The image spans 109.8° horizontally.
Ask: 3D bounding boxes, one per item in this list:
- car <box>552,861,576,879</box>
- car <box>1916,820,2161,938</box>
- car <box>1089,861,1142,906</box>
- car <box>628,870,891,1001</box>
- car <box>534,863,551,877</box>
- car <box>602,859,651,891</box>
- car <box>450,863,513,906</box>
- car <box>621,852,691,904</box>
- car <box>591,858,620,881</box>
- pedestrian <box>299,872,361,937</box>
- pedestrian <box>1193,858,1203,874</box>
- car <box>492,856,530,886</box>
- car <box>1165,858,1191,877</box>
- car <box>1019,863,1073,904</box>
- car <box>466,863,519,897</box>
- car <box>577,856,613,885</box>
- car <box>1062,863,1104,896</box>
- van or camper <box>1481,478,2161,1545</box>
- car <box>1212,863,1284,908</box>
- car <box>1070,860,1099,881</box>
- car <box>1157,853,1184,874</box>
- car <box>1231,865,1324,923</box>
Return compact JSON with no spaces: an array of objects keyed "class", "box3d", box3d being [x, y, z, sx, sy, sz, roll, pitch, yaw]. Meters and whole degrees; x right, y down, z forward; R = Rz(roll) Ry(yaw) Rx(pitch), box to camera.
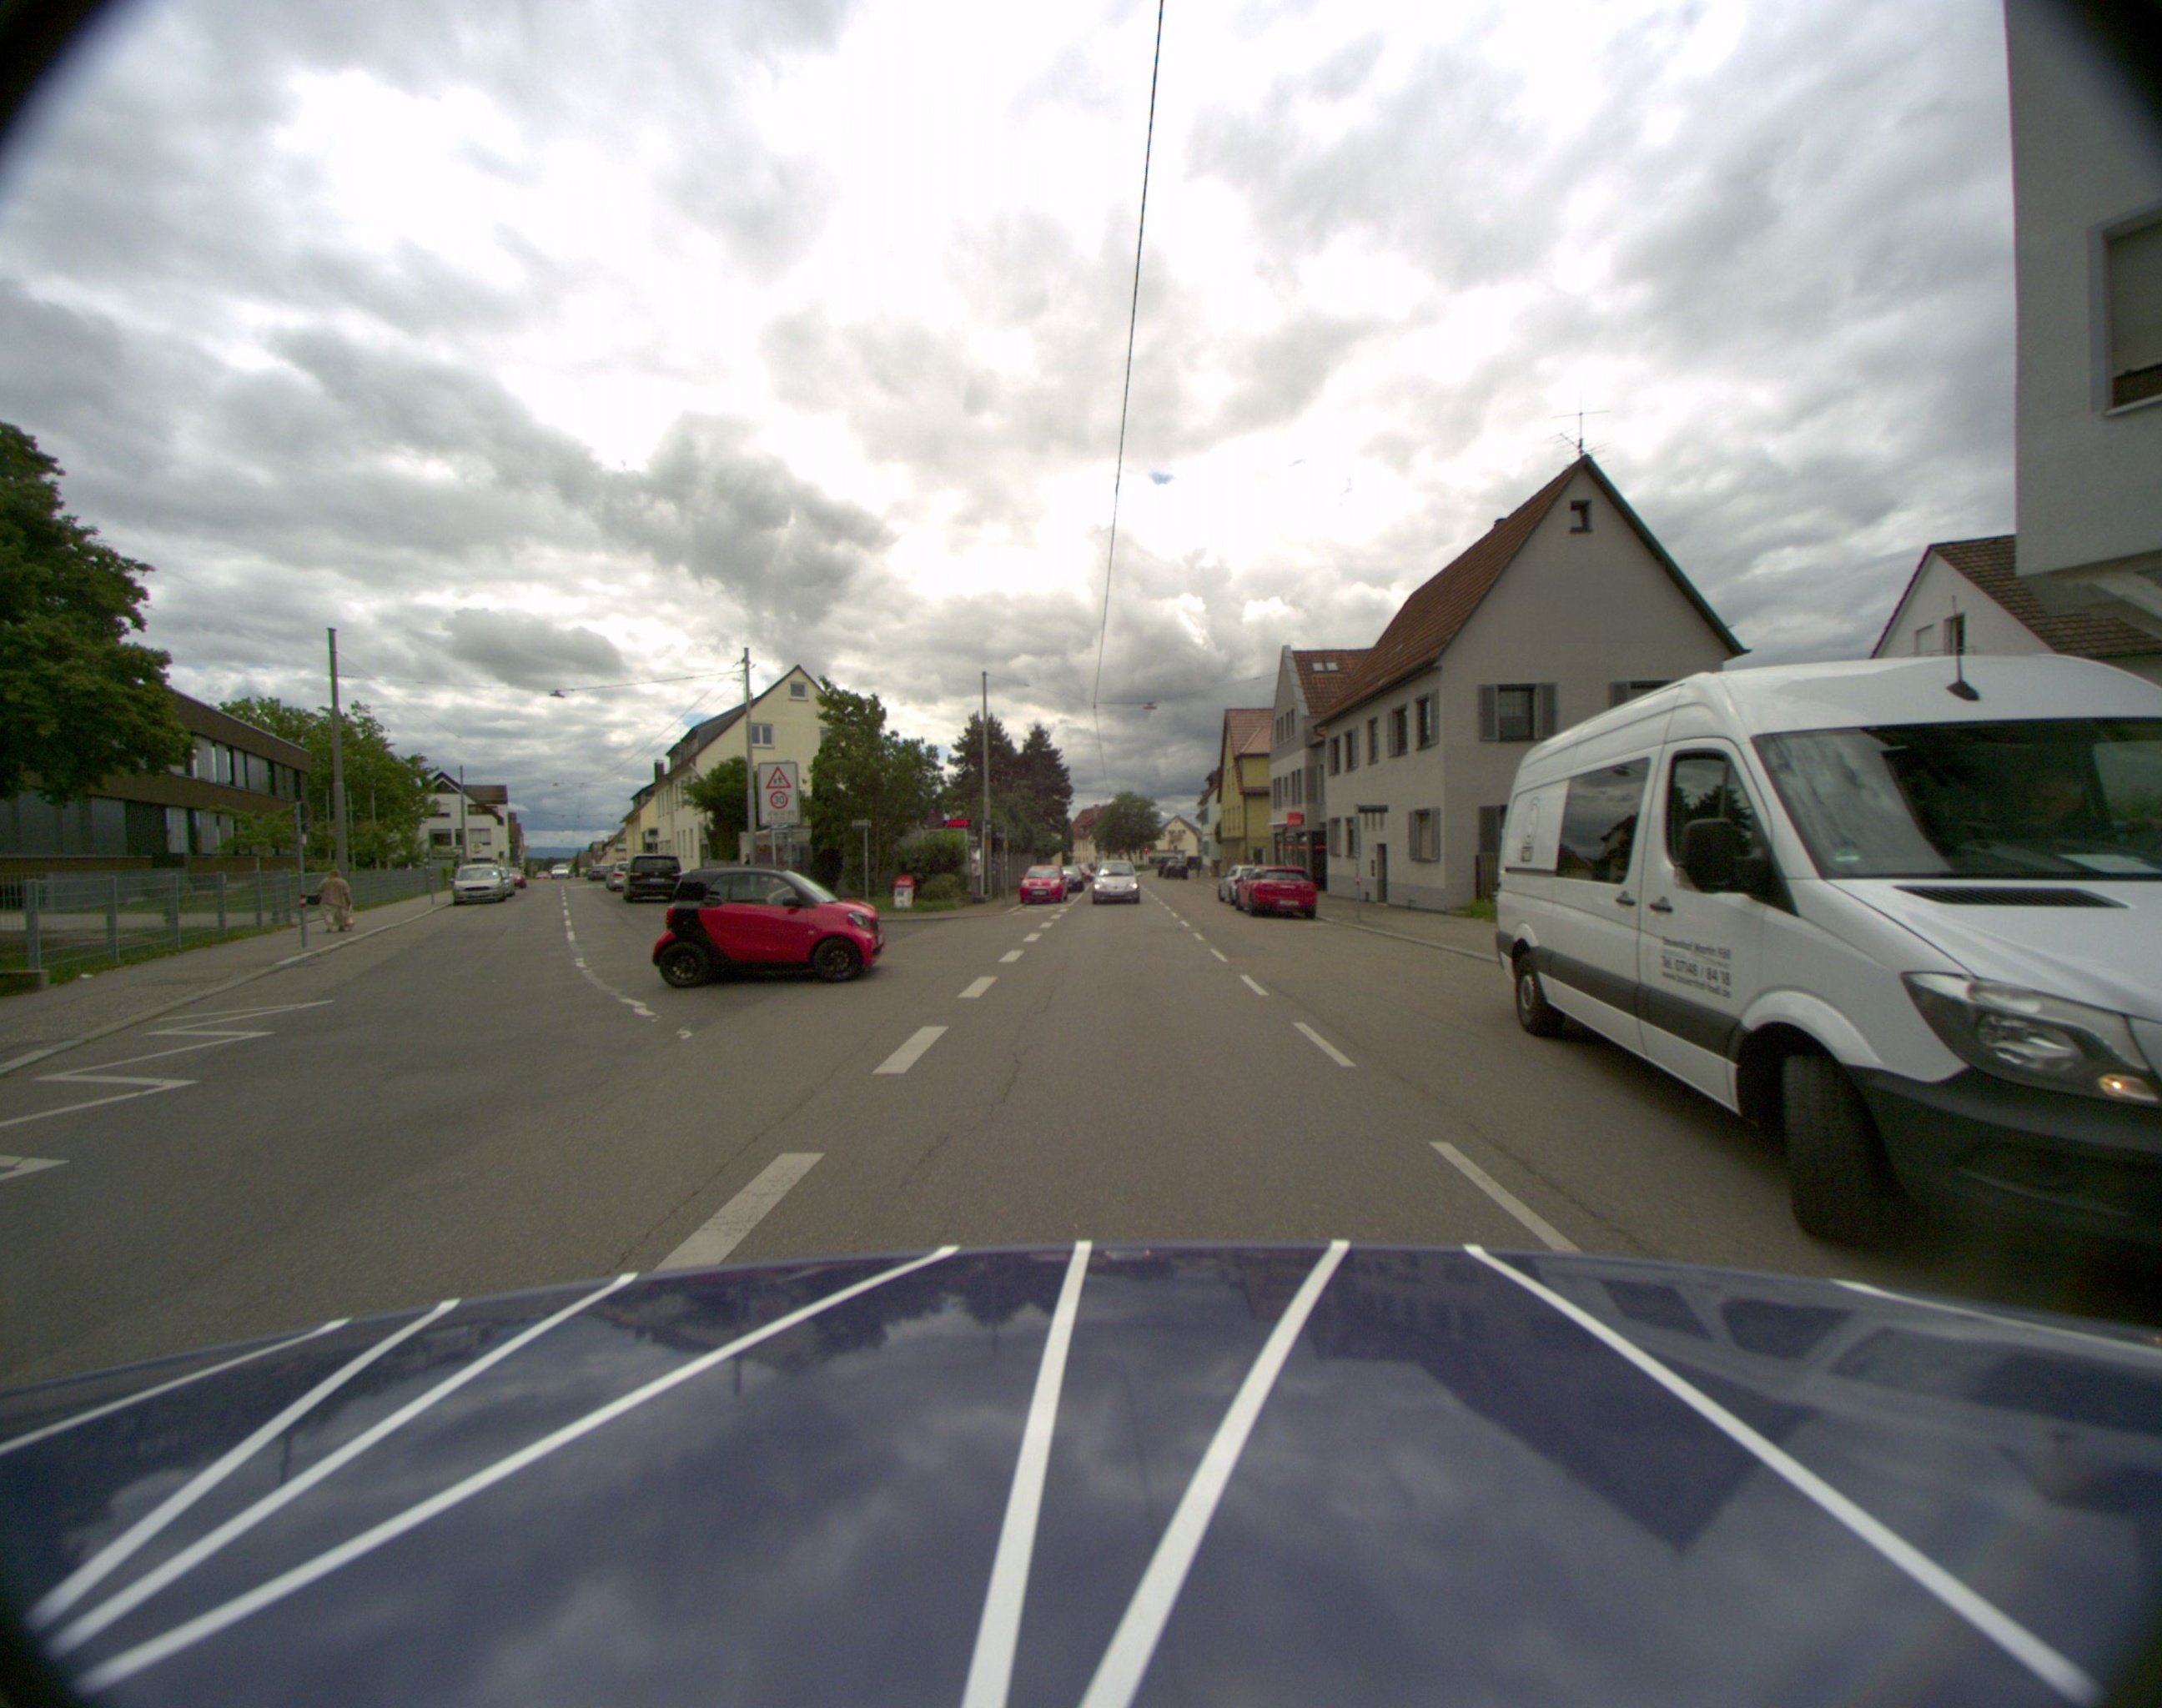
[{"class":"car","box3d":[-56.789,1.731,83.397,2.004,2.002,4.381,-1,0,-36]},{"class":"car","box3d":[18.606,0.399,13.981,1.838,1.898,4.625,0,0,8]},{"class":"car","box3d":[1.315,1.072,28.962,1.857,1.547,4.353,0,0,2]},{"class":"car","box3d":[-4.210,1.021,10.407,2.940,1.511,1.819,-1,0,-9]},{"class":"car","box3d":[-80.416,2.352,113.387,2.004,2.002,4.381,-1,0,-36]},{"class":"car","box3d":[-25.292,1.123,42.212,2.004,1.663,4.382,-1,0,-35]},{"class":"car","box3d":[-26.183,1.268,33.311,2.004,1.731,4.381,-1,0,-36]},{"class":"car","box3d":[-16.980,0.897,30.272,2.004,1.866,4.382,-1,0,-35]},{"class":"car","box3d":[-43.095,1.343,68.794,2.004,2.002,4.382,-1,0,-35]},{"class":"pedestrian","box3d":[-18.741,1.240,18.989,0.902,1.527,0.957,-2,1,-34]},{"class":"pedestrian","box3d":[10.110,1.043,65.757,0.832,1.368,0.551,-1,0,4]},{"class":"car","box3d":[-39.273,1.129,52.371,2.004,2.002,4.381,-1,0,-36]},{"class":"car","box3d":[7.992,1.088,62.960,1.717,1.558,4.353,0,0,2]},{"class":"car","box3d":[-1.328,1.126,30.442,1.718,1.472,4.001,-1,0,4]},{"class":"car","box3d":[-29.927,1.282,38.729,2.004,1.595,4.381,-1,0,-36]},{"class":"car","box3d":[-34.622,1.140,54.105,2.004,2.002,4.382,-1,0,-35]},{"class":"car","box3d":[0.140,1.270,39.441,1.818,1.472,4.001,-5,0,4]},{"class":"van or camper","box3d":[4.408,0.371,4.563,2.322,2.592,6.215,-1,0,16]},{"class":"car","box3d":[6.091,1.112,28.222,1.782,1.465,4.353,1,0,1]},{"class":"car","box3d":[0.304,1.251,59.903,1.995,1.490,4.353,-3,0,2]},{"class":"car","box3d":[8.144,0.878,69.611,2.111,1.838,4.353,0,0,2]},{"class":"car","box3d":[5.697,1.109,22.511,1.863,1.465,4.354,1,0,4]}]
